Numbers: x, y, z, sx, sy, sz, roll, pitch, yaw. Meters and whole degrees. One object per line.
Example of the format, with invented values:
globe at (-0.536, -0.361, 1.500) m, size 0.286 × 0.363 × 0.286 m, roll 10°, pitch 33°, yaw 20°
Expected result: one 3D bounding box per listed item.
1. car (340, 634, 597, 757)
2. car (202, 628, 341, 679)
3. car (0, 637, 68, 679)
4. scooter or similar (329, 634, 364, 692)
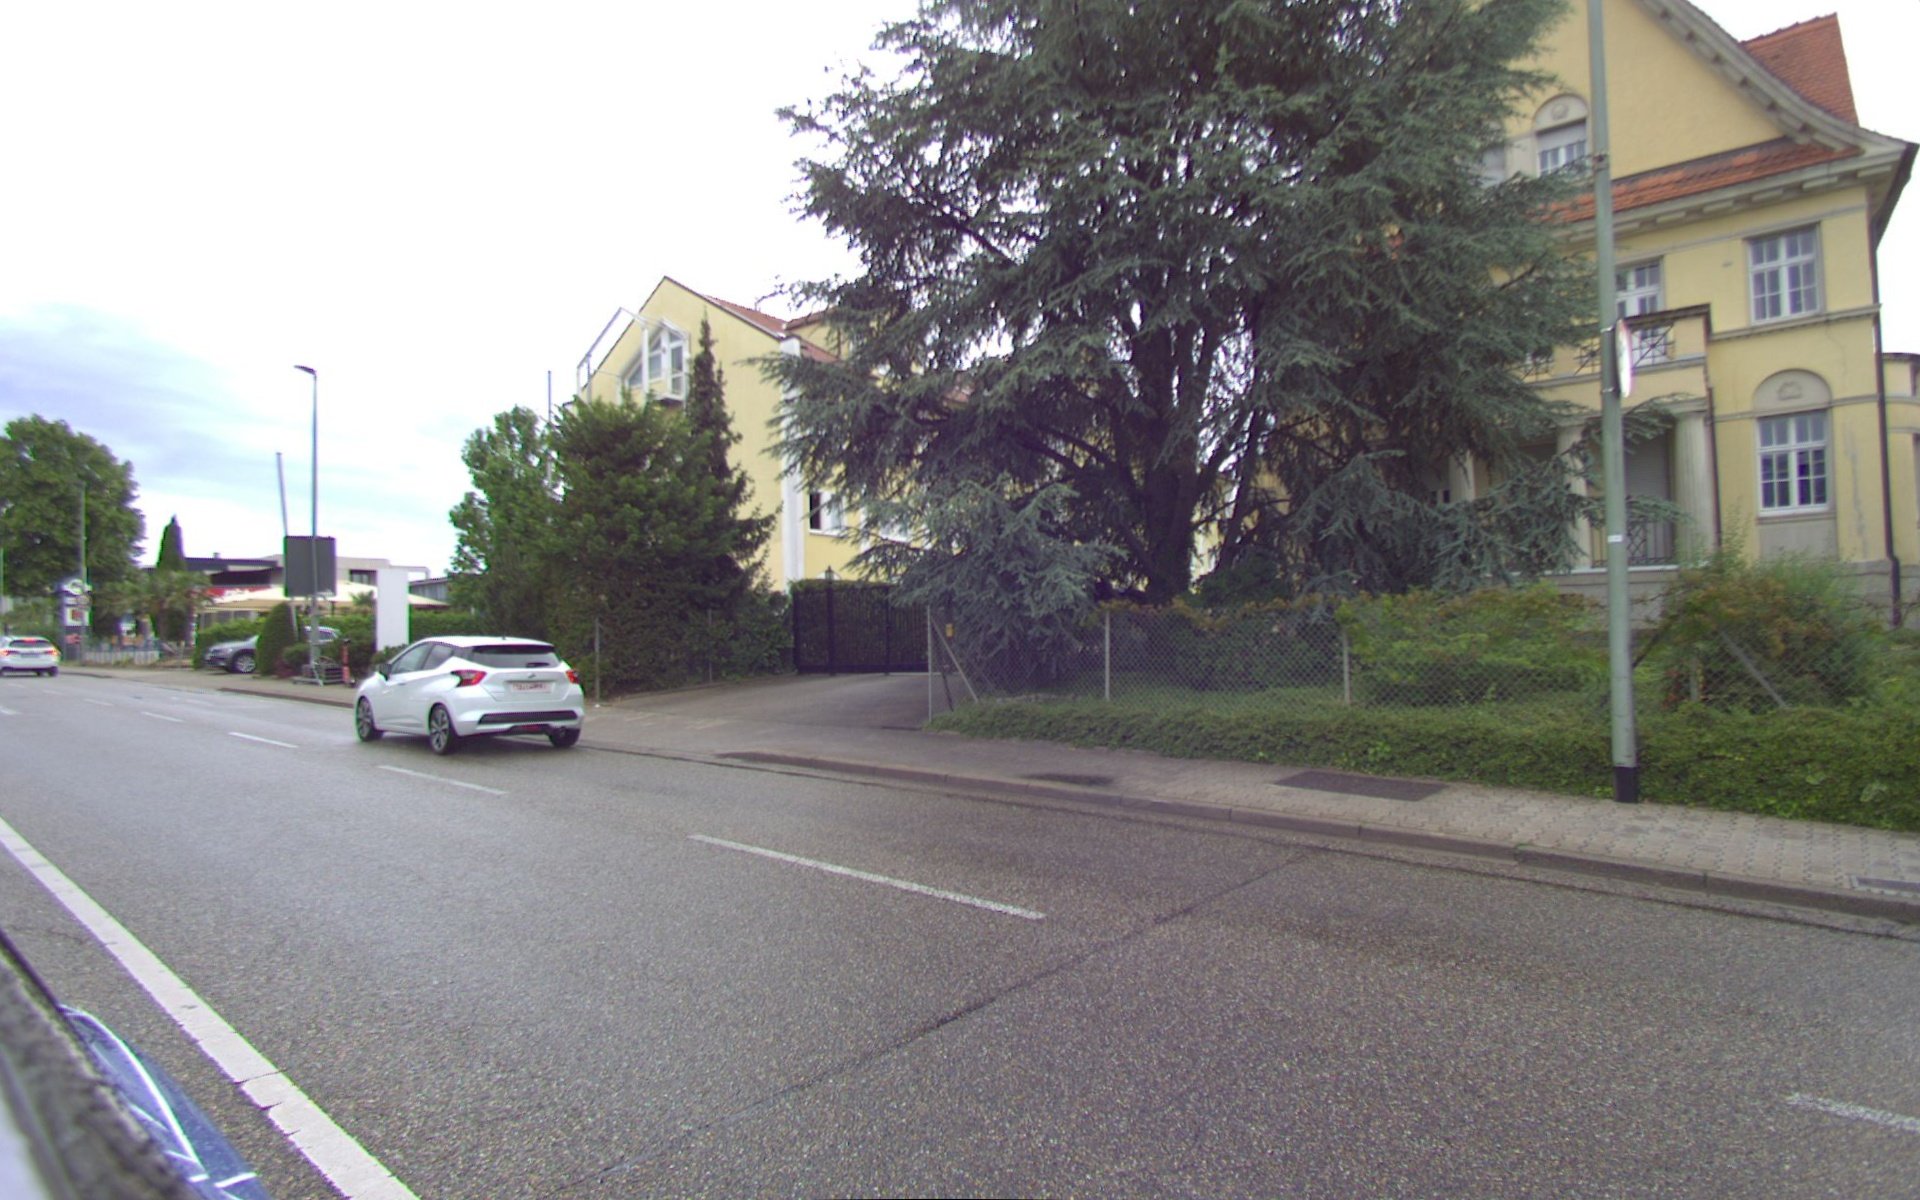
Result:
car at (-6.645, 1.182, 13.540) m, size 3.799 × 1.408 × 1.728 m, roll -2°, pitch -3°, yaw 41°
car at (-24.476, 1.862, 36.066) m, size 3.876 × 1.664 × 1.720 m, roll 1°, pitch -2°, yaw -44°
car at (-35.287, 2.141, 37.991) m, size 4.303 × 1.465 × 1.949 m, roll -2°, pitch -3°, yaw 38°
scooter or similar at (-15.545, 1.568, 25.644) m, size 0.498 × 1.416 × 1.884 m, roll 1°, pitch -2°, yaw -39°
